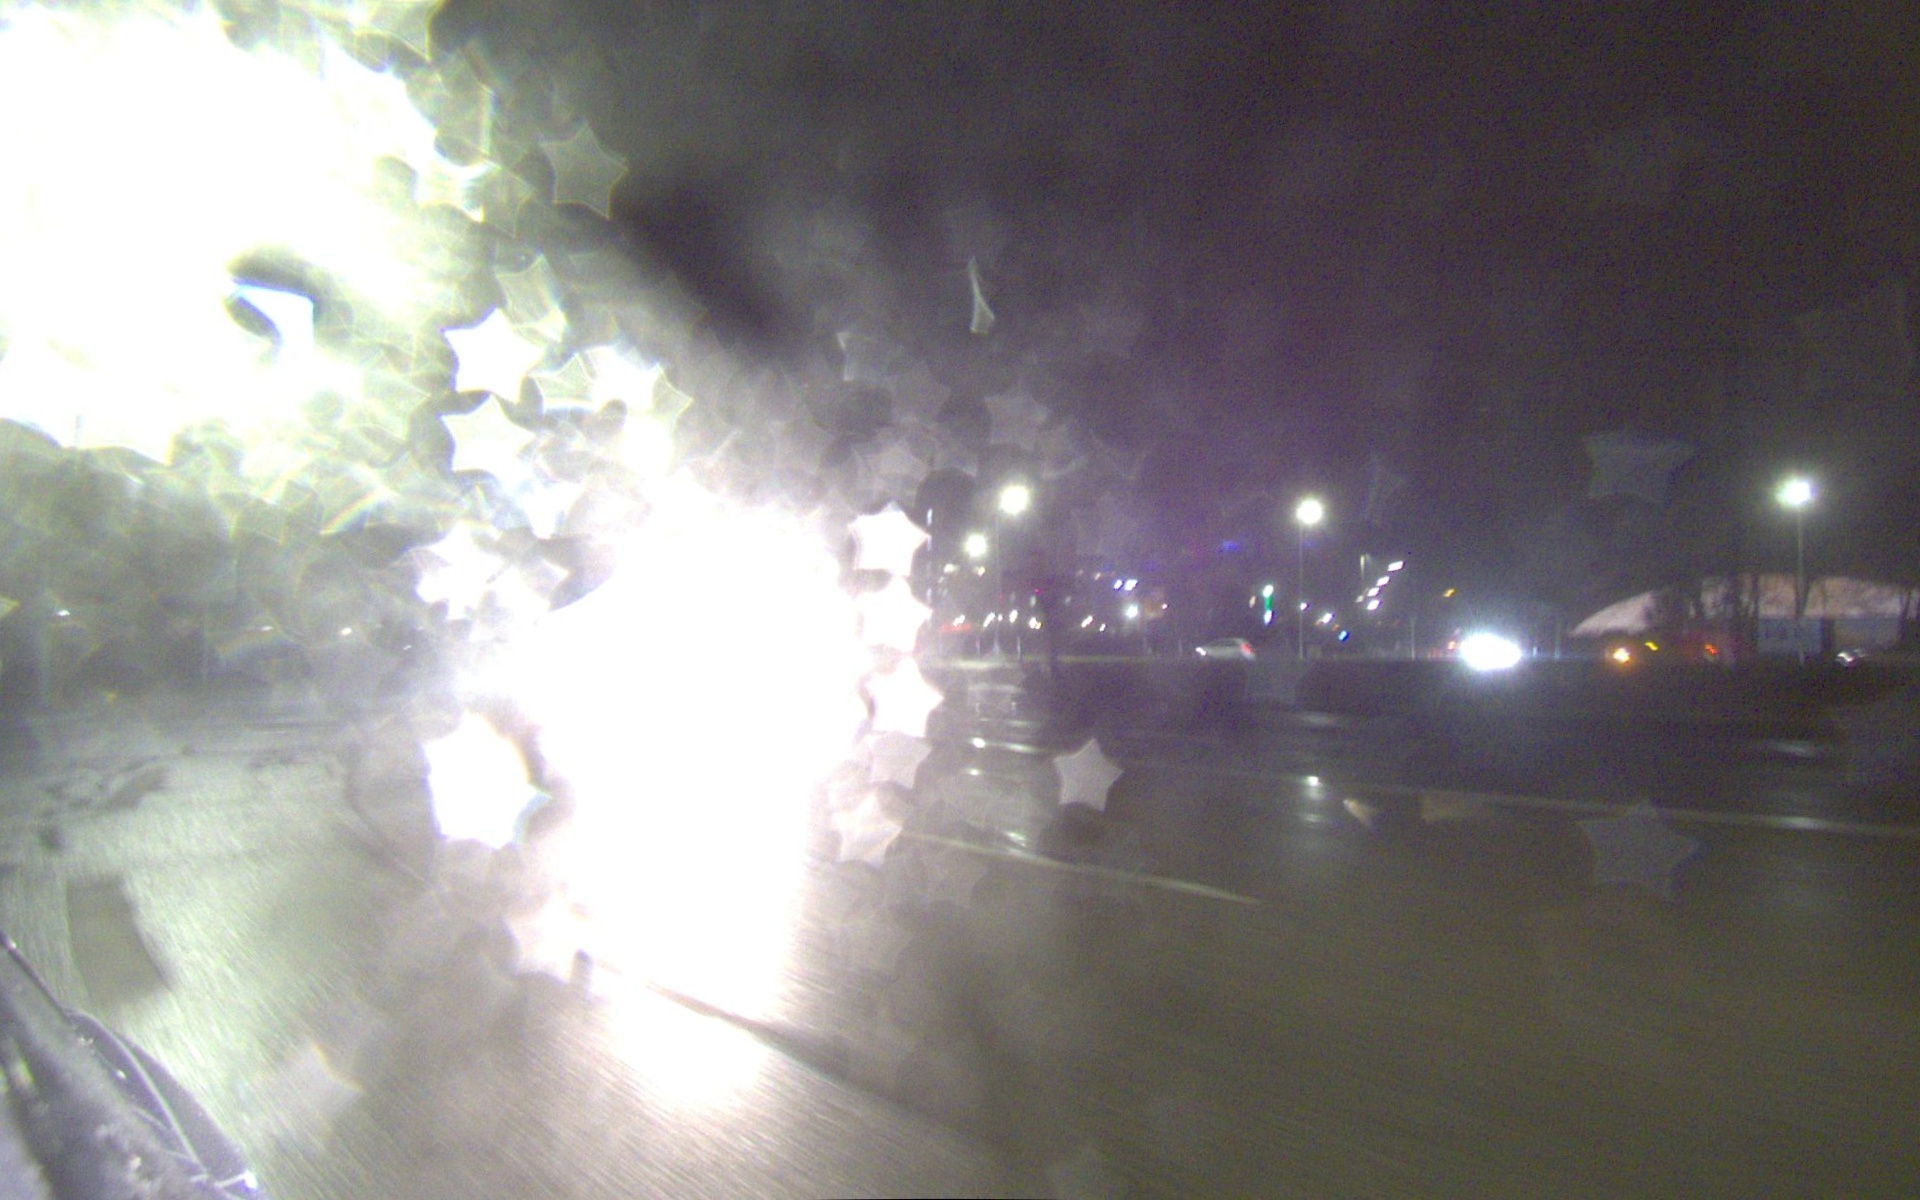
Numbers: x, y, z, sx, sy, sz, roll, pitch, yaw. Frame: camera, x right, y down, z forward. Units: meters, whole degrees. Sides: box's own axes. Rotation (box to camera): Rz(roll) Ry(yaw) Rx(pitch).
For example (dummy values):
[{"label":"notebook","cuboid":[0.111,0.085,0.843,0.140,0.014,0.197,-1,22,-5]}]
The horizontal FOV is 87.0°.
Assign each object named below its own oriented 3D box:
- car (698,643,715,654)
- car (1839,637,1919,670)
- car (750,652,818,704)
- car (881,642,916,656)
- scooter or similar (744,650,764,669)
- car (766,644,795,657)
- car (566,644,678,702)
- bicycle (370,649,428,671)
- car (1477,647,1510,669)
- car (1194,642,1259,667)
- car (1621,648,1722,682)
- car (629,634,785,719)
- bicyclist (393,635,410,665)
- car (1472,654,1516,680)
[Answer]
[{"label":"car","cuboid":[-41.946,8.041,167.684,2.038,1.729,5.047,-1,-2,-7]},{"label":"car","cuboid":[43.107,2.453,46.318,1.804,1.455,4.025,1,-3,-40]},{"label":"car","cuboid":[-6.347,2.794,36.905,1.809,1.719,4.194,-1,-2,-1]},{"label":"car","cuboid":[-6.373,5.051,104.530,1.799,1.383,3.958,0,-3,-34]},{"label":"scooter or similar","cuboid":[-12.095,3.476,59.460,1.090,1.106,0.317,1,-2,2]},{"label":"car","cuboid":[-24.546,6.914,138.025,2.035,1.729,5.053,0,-3,-34]},{"label":"car","cuboid":[-11.039,2.343,33.397,1.927,1.732,4.434,-1,-2,5]},{"label":"bicycle","cuboid":[-27.191,2.892,49.107,2.380,0.984,0.623,0,-3,-19]},{"label":"car","cuboid":[40.330,4.349,76.585,1.667,1.542,3.972,-2,-2,21]},{"label":"car","cuboid":[18.004,3.686,68.401,3.864,1.630,1.752,-3,-3,35]},{"label":"car","cuboid":[35.616,3.250,50.753,3.854,1.630,1.756,-2,-3,28]},{"label":"car","cuboid":[-5.160,1.526,21.387,1.811,1.538,4.868,-1,-2,4]},{"label":"bicyclist","cuboid":[-27.127,2.435,49.146,0.595,1.458,0.618,0,-3,-18]},{"label":"car","cuboid":[34.700,4.337,65.817,1.745,1.586,3.977,-2,-2,17]}]
